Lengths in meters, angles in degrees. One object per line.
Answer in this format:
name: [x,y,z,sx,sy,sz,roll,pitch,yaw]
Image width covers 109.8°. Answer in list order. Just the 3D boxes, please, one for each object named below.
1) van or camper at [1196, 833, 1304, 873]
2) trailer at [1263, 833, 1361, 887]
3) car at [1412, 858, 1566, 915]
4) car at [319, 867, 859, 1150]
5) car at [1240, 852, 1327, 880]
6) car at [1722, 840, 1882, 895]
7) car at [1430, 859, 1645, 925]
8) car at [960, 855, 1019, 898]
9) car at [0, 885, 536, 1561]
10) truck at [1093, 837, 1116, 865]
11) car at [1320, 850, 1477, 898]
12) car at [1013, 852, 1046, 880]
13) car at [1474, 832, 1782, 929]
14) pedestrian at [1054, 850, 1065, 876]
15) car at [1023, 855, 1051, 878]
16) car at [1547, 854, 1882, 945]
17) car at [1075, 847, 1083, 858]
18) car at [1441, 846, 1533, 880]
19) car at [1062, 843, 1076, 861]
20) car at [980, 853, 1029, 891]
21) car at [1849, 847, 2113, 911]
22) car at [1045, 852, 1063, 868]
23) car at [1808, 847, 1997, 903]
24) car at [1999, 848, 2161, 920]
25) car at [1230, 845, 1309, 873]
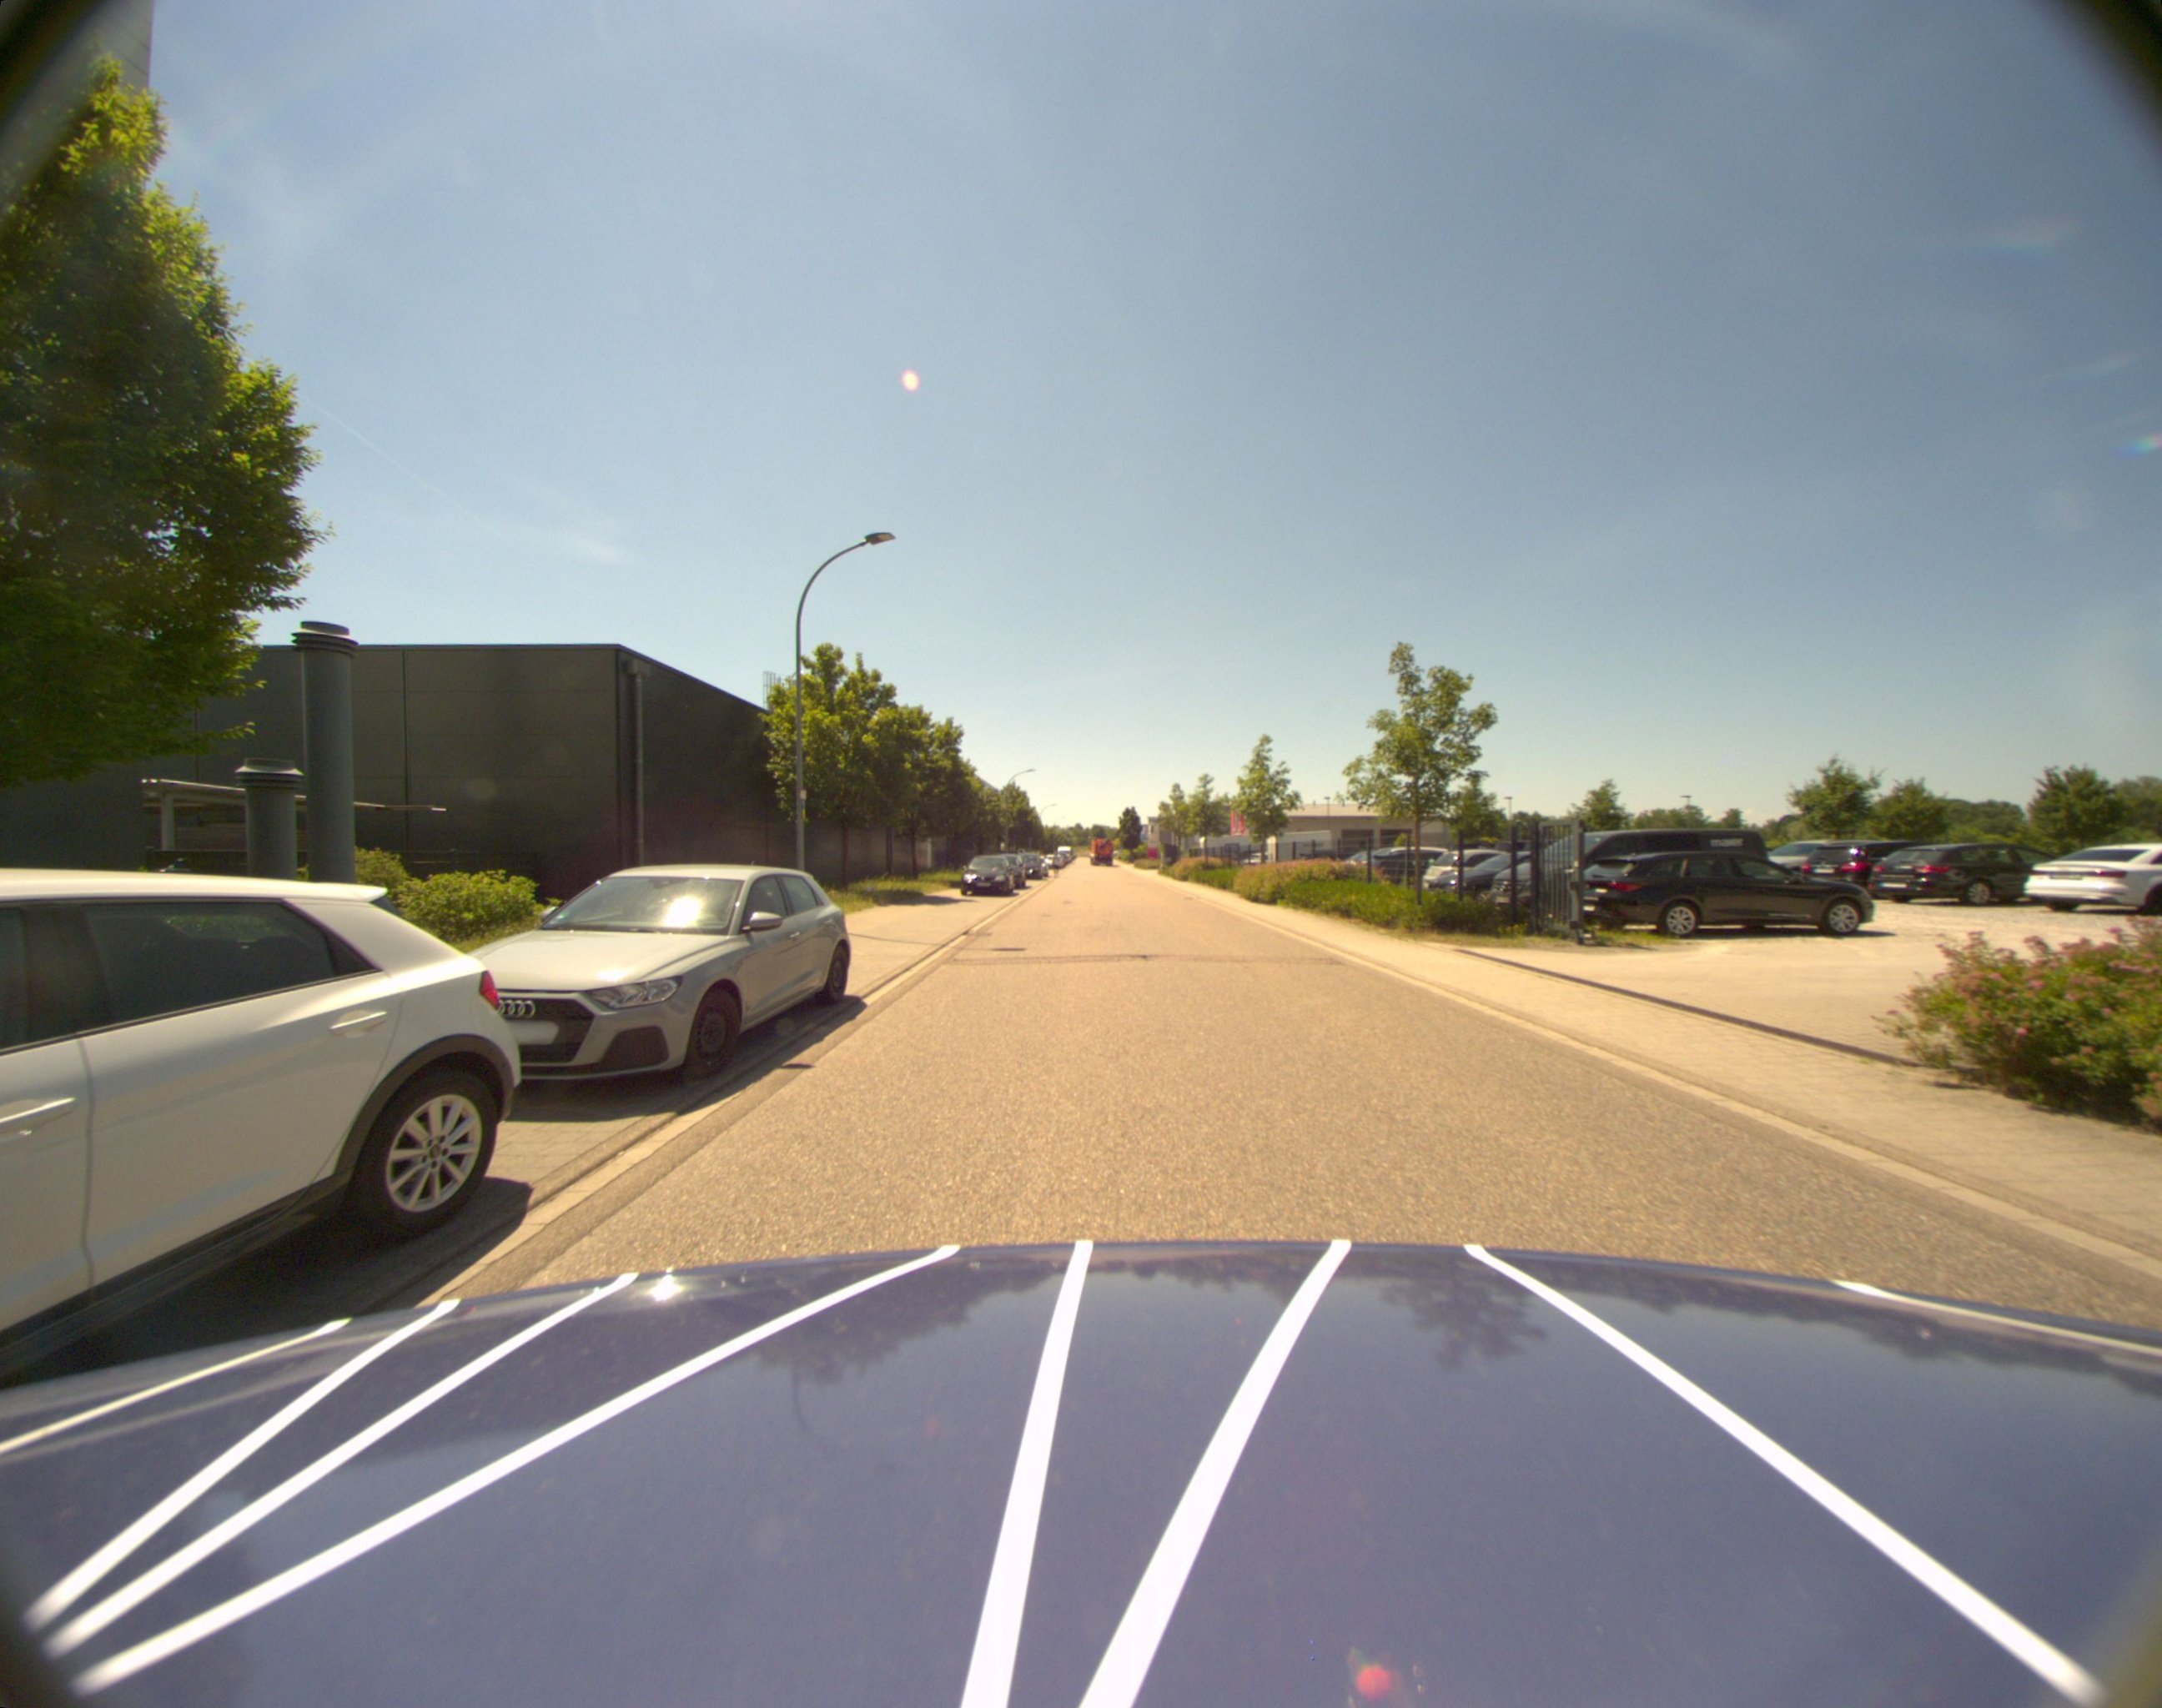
van or camper: [11.424,-0.069,51.831,6.793,2.668,2.575,0,0,1]
trailer: [10.803,0.276,35.634,3.998,2.346,1.726,-2,1,-2]
car: [11.567,0.898,21.693,3.379,1.490,1.904,-1,0,0]
car: [-3.295,0.884,6.165,1.720,1.415,3.951,2,0,1]
car: [10.966,0.633,41.264,4.218,1.443,1.777,0,0,-3]
car: [21.888,0.398,23.147,3.480,1.575,1.477,-1,1,0]
car: [11.195,0.910,18.865,4.204,1.490,1.904,-1,0,0]
car: [-3.427,0.795,29.146,1.696,1.467,4.268,2,0,0]
car: [-3.414,0.915,1.473,1.720,1.472,4.031,2,0,1]
truck: [3.061,-0.387,101.662,2.606,3.524,10.500,1,0,0]
car: [11.134,0.686,26.920,4.744,1.619,2.000,0,0,1]
car: [-3.169,0.701,47.139,1.742,1.660,4.367,1,0,0]
car: [11.283,0.521,15.947,5.072,1.840,1.964,-1,1,0]
pedestrian: [-1.520,0.635,52.836,0.704,1.799,0.721,-1,1,1]
car: [-3.057,0.856,53.505,1.711,1.449,4.188,1,0,0]
car: [11.019,0.756,13.470,4.316,1.438,1.964,-1,0,0]
car: [-0.615,-0.423,196.175,2.060,2.682,4.834,1,0,0]
car: [22.210,0.471,41.679,3.997,1.761,2.000,0,0,-1]
car: [-1.901,-0.275,118.250,2.060,2.682,4.834,1,0,0]
car: [-3.486,0.769,35.450,1.812,1.608,4.714,2,0,0]
car: [21.459,0.562,18.251,4.117,1.406,1.880,-1,0,0]
car: [-2.839,0.611,79.205,1.736,1.501,3.665,2,0,-1]
car: [21.986,0.542,20.410,3.480,1.406,1.477,-1,1,0]
car: [21.900,0.567,15.485,4.117,1.343,1.880,-1,0,0]
car: [11.768,0.301,47.565,4.521,1.656,1.777,0,0,-1]
